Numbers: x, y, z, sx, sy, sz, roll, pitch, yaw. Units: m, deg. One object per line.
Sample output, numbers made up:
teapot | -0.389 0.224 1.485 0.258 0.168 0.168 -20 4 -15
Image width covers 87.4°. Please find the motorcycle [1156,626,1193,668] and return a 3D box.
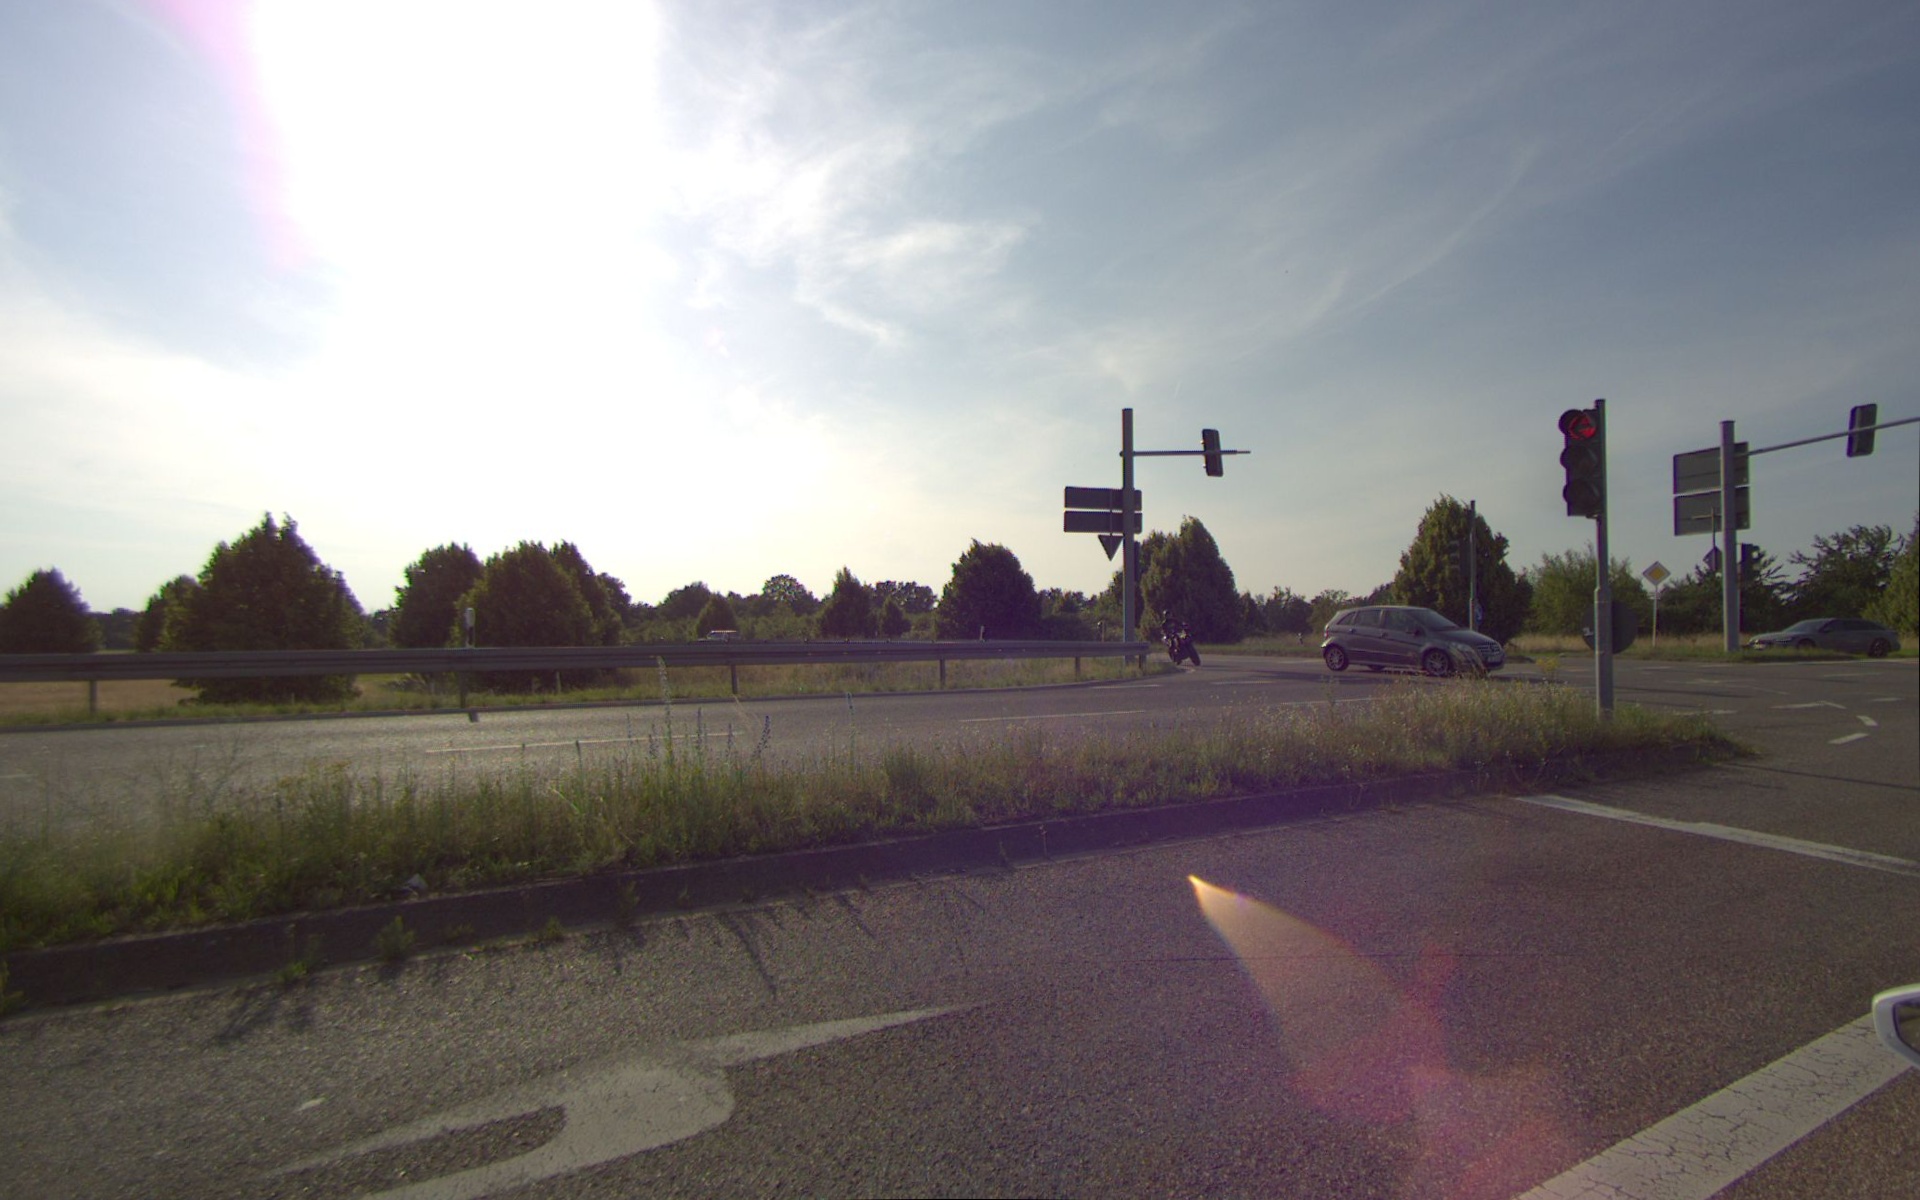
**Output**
motorcycle | 6.374 1.377 29.925 0.921 1.139 2.172 1 0 8

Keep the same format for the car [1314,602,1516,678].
car | 10.624 0.887 23.760 1.767 1.626 4.168 2 -1 -26

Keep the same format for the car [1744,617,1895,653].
car | 31.955 1.292 37.389 4.583 1.309 1.440 0 -1 -5

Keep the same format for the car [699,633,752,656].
car | -17.346 3.246 74.124 3.944 1.560 1.989 0 -1 43

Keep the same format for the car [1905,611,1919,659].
car | 32.307 1.126 32.148 3.751 1.508 1.716 1 -1 -24

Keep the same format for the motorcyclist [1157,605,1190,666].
motorcyclist | 6.407 1.055 30.153 0.888 1.781 0.832 1 0 8
